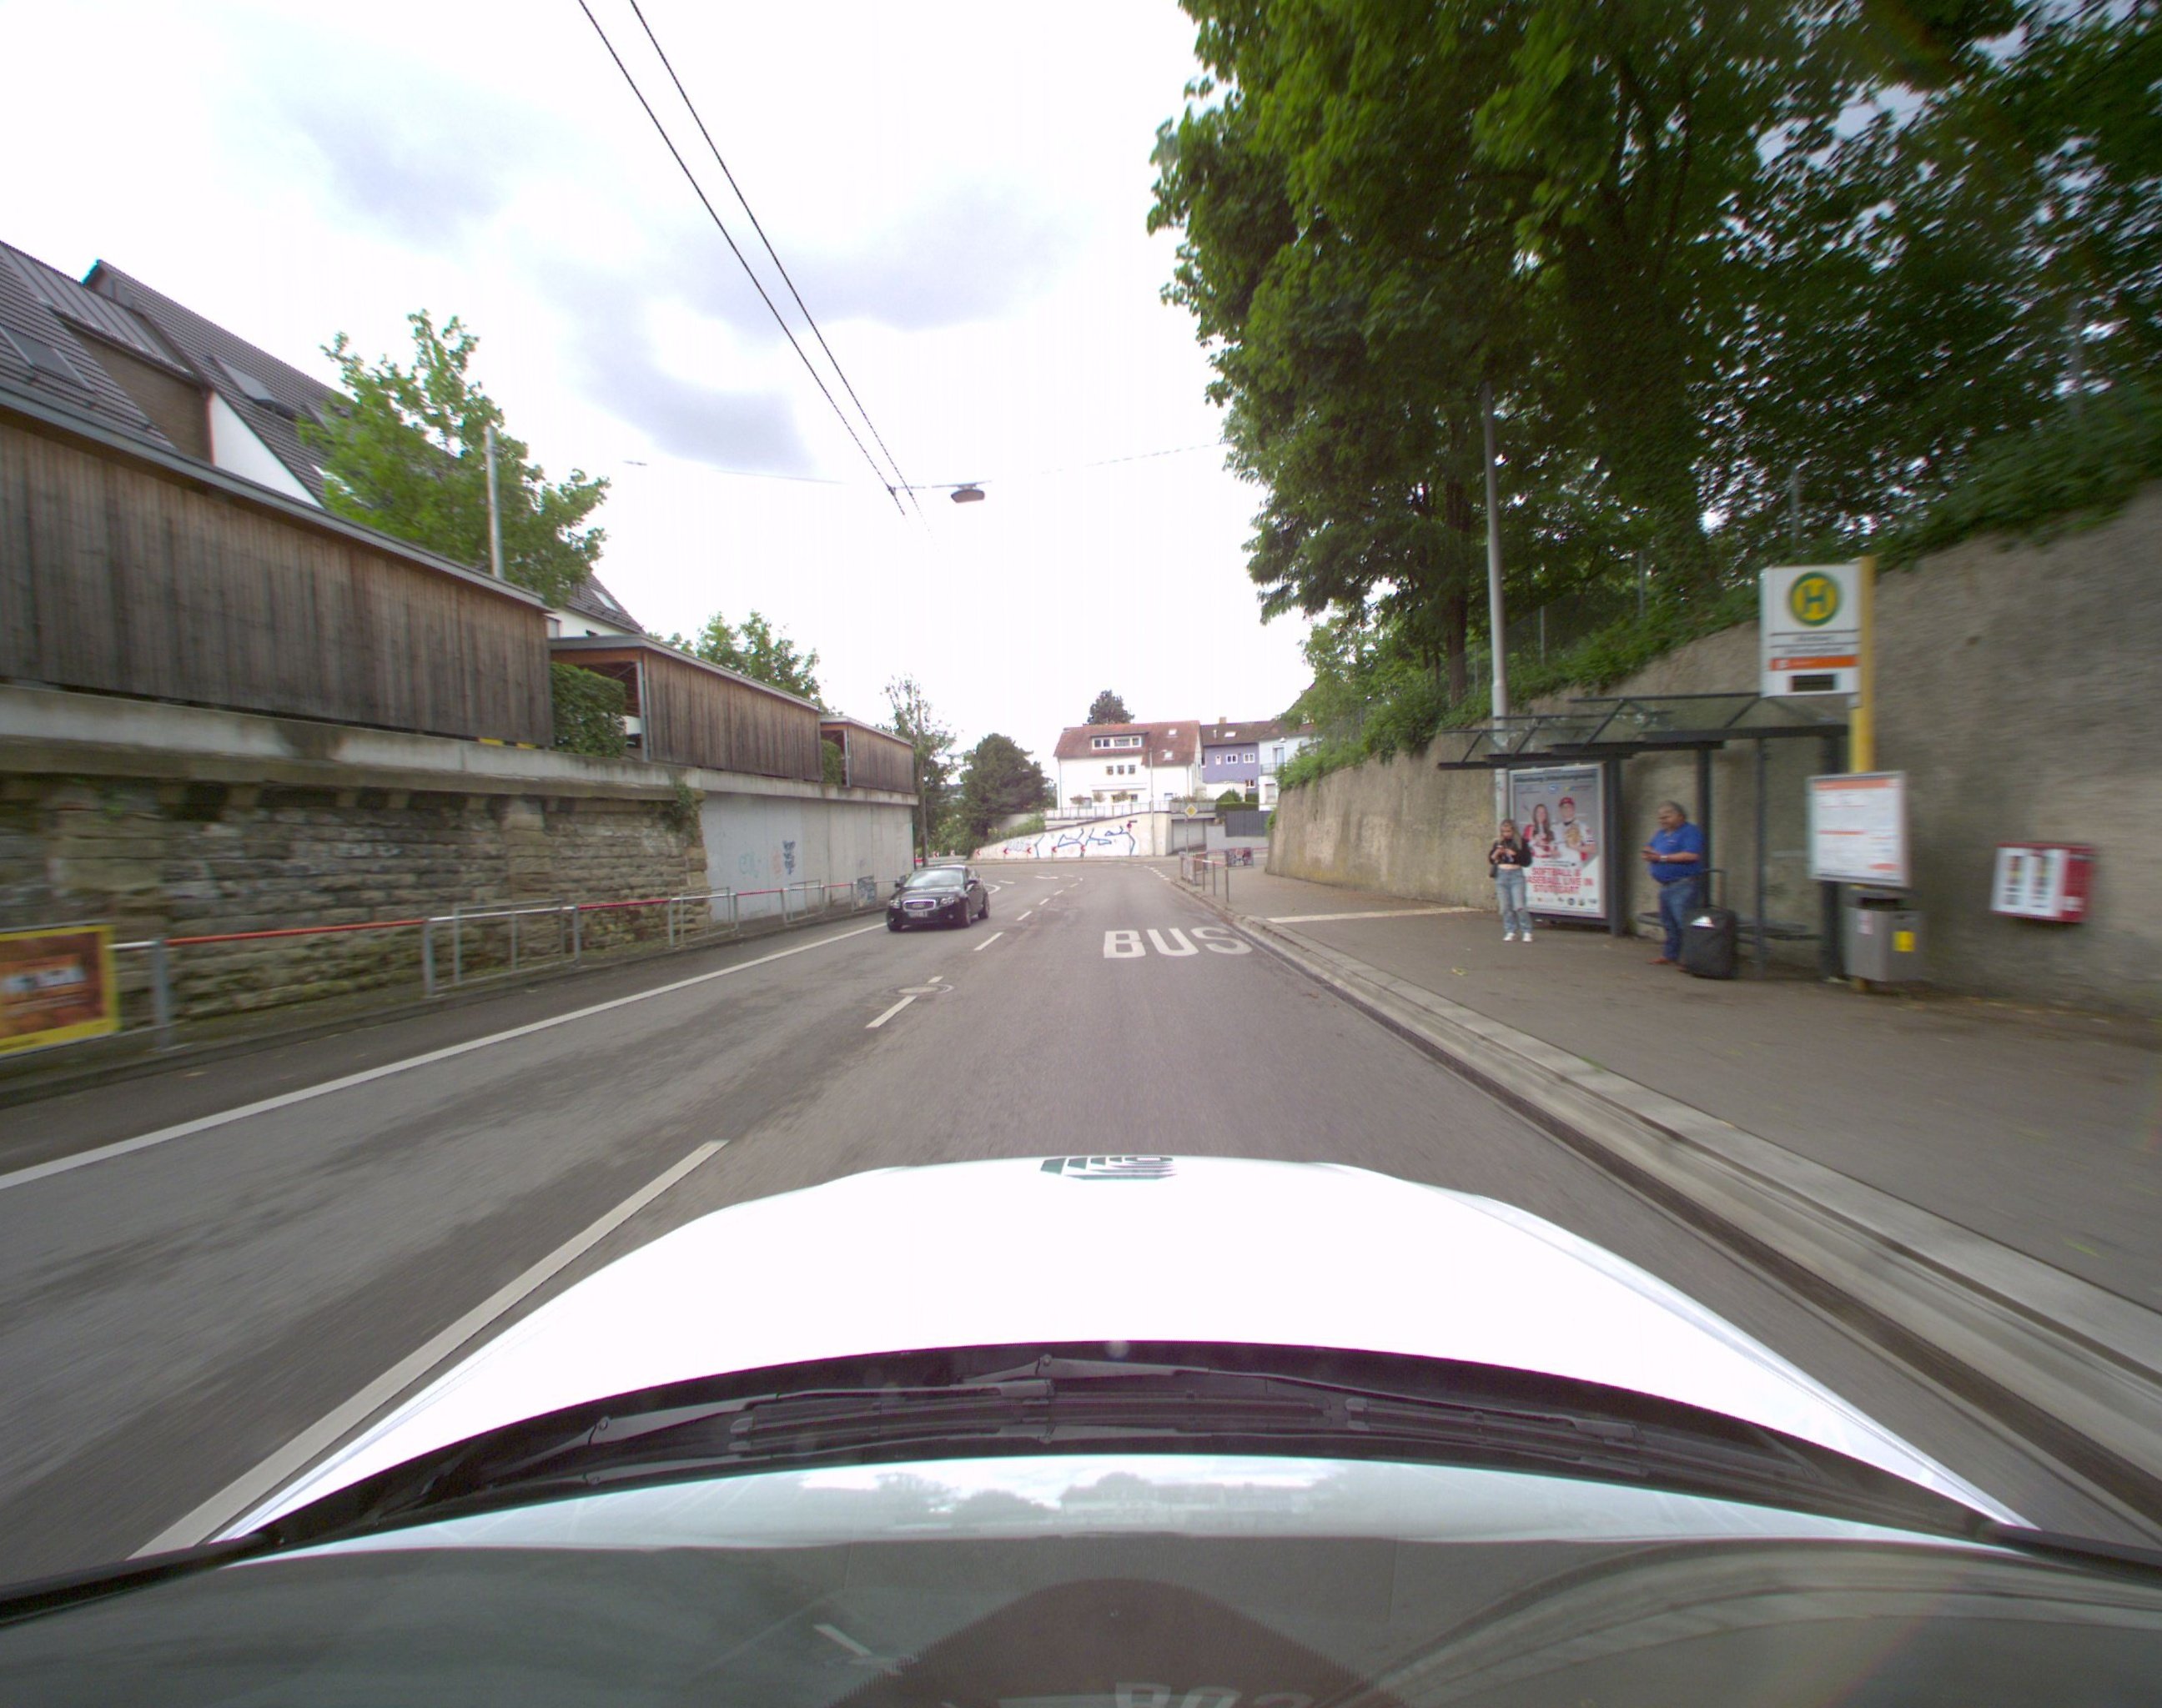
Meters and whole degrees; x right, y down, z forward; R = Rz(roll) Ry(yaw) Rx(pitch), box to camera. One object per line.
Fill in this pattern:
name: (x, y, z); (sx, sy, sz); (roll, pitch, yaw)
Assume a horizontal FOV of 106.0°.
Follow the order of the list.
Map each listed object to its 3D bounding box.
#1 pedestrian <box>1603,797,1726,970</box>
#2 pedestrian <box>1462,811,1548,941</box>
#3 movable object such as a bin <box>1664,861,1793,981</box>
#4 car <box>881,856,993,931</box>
pedestrian: (5.848, 0.280, 8.189); (0.719, 1.642, 0.630); (-2, 0, -3)
pedestrian: (5.494, 0.269, 10.547); (0.728, 1.587, 0.778); (-3, 1, 43)
movable object such as a bin: (5.961, 0.597, 7.525); (0.673, 1.020, 0.626); (-2, 1, -3)
car: (-3.265, 0.848, 19.282); (1.728, 1.533, 4.002); (-2, 0, 2)
